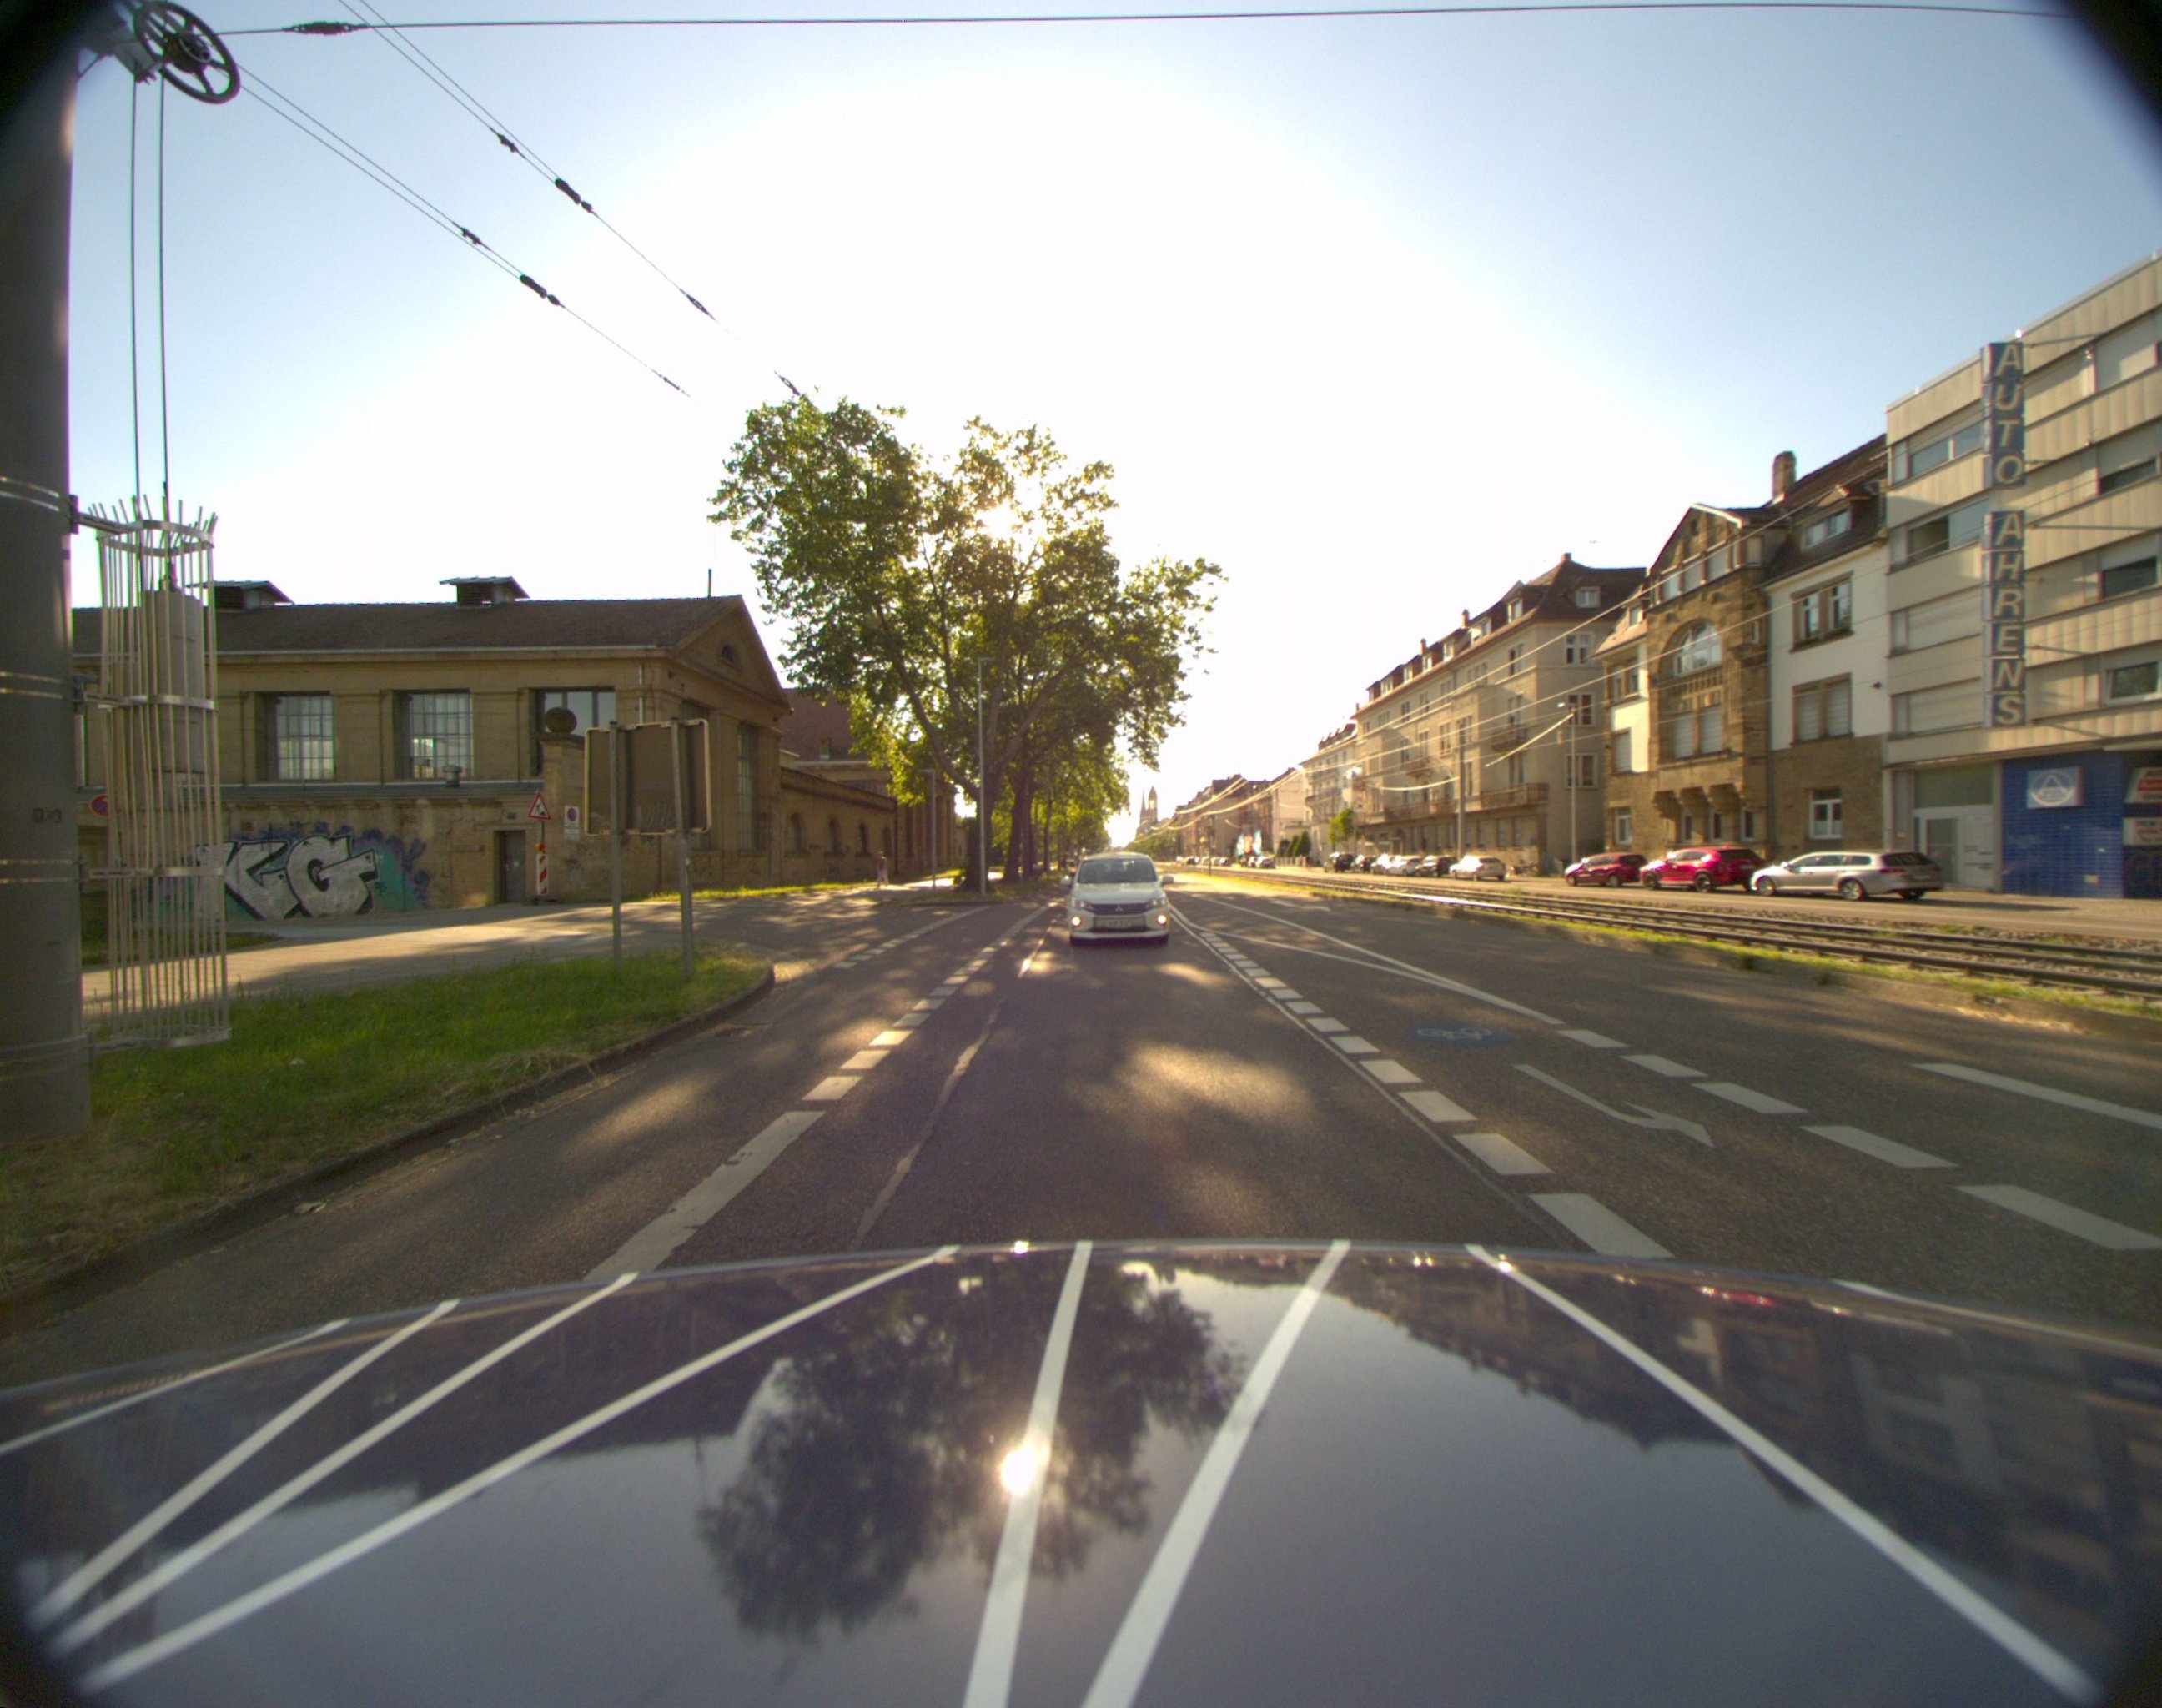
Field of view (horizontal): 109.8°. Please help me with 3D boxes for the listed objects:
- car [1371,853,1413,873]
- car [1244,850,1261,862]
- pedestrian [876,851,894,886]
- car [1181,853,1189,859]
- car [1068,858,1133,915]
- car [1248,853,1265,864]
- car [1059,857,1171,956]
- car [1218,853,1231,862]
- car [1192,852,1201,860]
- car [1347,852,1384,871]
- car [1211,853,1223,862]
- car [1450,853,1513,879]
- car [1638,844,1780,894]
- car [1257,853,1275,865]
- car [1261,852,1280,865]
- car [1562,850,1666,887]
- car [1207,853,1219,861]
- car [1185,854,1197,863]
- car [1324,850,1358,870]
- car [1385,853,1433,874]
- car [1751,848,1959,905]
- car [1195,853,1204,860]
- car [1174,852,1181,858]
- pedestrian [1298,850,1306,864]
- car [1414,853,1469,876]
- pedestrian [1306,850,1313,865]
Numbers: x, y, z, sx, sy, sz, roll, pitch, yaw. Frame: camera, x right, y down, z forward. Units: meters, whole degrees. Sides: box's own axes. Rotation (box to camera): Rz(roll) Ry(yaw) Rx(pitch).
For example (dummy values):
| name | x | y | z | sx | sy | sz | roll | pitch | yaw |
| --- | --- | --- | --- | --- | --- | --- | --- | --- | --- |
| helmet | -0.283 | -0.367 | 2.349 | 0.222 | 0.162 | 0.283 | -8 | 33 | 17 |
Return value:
| name | x | y | z | sx | sy | sz | roll | pitch | yaw |
| --- | --- | --- | --- | --- | --- | --- | --- | --- | --- |
| car | 24.476 | 0.676 | 59.975 | 1.802 | 1.470 | 3.823 | -2 | 0 | 2 |
| car | 25.623 | 0.270 | 113.655 | 1.727 | 1.776 | 3.881 | -2 | 0 | 1 |
| pedestrian | -9.341 | 0.673 | 36.210 | 0.672 | 1.652 | 0.874 | 0 | 1 | -2 |
| car | 26.906 | 0.498 | 196.498 | 1.624 | 1.581 | 3.450 | -2 | 0 | 1 |
| car | 0.574 | 0.869 | 21.987 | 1.686 | 1.462 | 4.055 | -1 | 0 | 2 |
| car | 25.017 | 0.640 | 108.390 | 1.684 | 1.562 | 3.388 | -2 | 0 | 1 |
| car | 0.579 | 0.816 | 13.580 | 1.686 | 1.462 | 4.055 | -1 | 0 | 2 |
| car | 25.258 | 0.590 | 134.025 | 1.624 | 1.581 | 3.450 | -2 | 0 | 1 |
| car | 27.142 | 0.460 | 178.262 | 1.624 | 1.581 | 3.450 | -2 | 0 | 1 |
| car | 24.660 | 0.641 | 65.952 | 1.802 | 1.470 | 3.823 | -2 | 0 | 2 |
| car | 25.618 | 0.576 | 143.387 | 1.624 | 1.581 | 3.450 | -2 | 0 | 1 |
| car | 23.957 | 0.692 | 45.549 | 1.802 | 1.470 | 3.823 | -2 | 0 | 2 |
| car | 23.407 | 0.525 | 28.574 | 1.860 | 1.677 | 4.263 | -3 | 0 | 2 |
| car | 25.097 | 0.622 | 103.293 | 1.684 | 1.562 | 3.388 | -2 | 0 | 1 |
| car | 24.392 | 0.608 | 97.802 | 1.677 | 1.622 | 3.408 | -2 | 0 | 2 |
| car | 23.543 | 0.625 | 33.714 | 1.756 | 1.487 | 3.728 | -3 | 0 | -5 |
| car | 25.803 | 0.548 | 148.611 | 1.624 | 1.581 | 3.450 | -2 | 0 | 1 |
| car | 20.785 | 0.765 | 143.177 | 1.822 | 1.674 | 4.000 | -1 | 0 | 2 |
| car | 24.385 | 0.577 | 71.443 | 1.875 | 1.726 | 3.916 | -2 | 0 | 2 |
| car | 23.703 | 0.661 | 55.077 | 1.642 | 1.438 | 3.538 | -2 | 0 | -6 |
| car | 23.302 | 0.621 | 23.160 | 1.860 | 1.490 | 4.382 | -3 | 0 | 0 |
| car | 26.982 | 0.494 | 173.396 | 1.624 | 1.581 | 3.450 | -2 | 0 | 1 |
| car | 28.442 | 0.249 | 223.396 | 1.624 | 1.581 | 3.450 | -2 | 0 | 1 |
| pedestrian | 27.299 | 0.352 | 93.881 | 0.725 | 1.779 | 0.678 | 0 | 1 | 1 |
| car | 24.099 | 0.656 | 50.869 | 1.802 | 1.422 | 3.823 | -2 | 0 | 0 |
| pedestrian | 28.148 | 0.408 | 93.684 | 0.725 | 1.779 | 0.678 | 0 | 1 | 1 |
